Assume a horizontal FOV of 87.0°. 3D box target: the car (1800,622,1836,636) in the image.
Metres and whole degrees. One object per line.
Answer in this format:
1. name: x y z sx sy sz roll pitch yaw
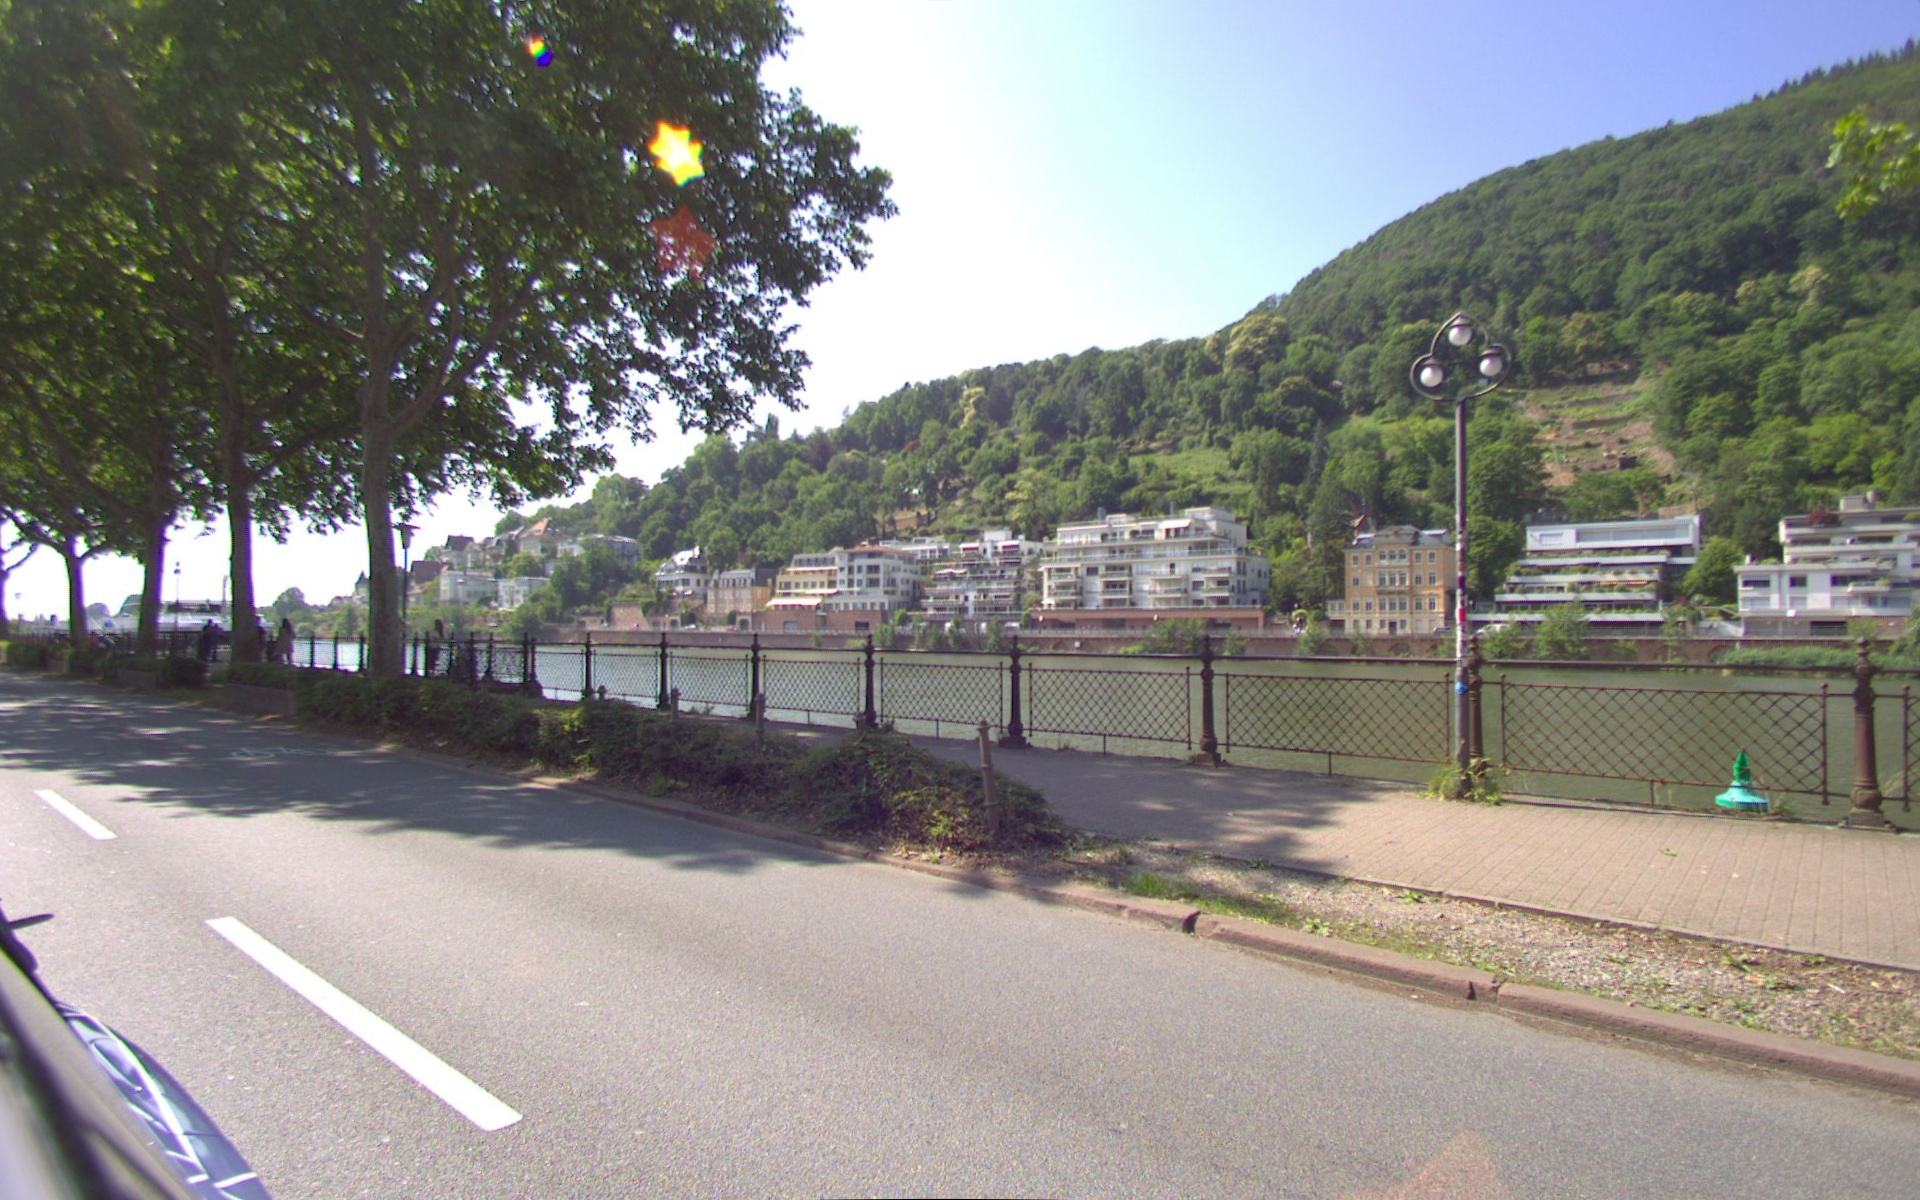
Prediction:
1. car: 125.365 4.244 147.860 3.998 2.029 1.973 -2 -1 41

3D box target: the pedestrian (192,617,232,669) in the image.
1. pedestrian: -30.270 1.719 40.979 1.032 2.029 1.038 -1 0 -19

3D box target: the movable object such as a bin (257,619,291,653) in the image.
1. movable object such as a bin: -22.057 1.150 32.527 0.782 1.057 0.696 -1 0 37

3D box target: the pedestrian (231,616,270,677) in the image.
1. pedestrian: -22.270 1.440 31.748 0.928 1.863 0.796 -1 0 41

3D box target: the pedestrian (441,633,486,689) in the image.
1. pedestrian: -12.667 1.543 25.812 0.770 1.398 0.758 -2 -3 40

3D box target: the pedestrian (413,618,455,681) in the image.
1. pedestrian: -15.058 1.423 28.977 0.829 1.771 0.767 -2 -4 40

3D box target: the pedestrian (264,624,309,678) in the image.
1. pedestrian: -21.315 1.594 32.021 1.057 1.647 0.887 -1 0 38
